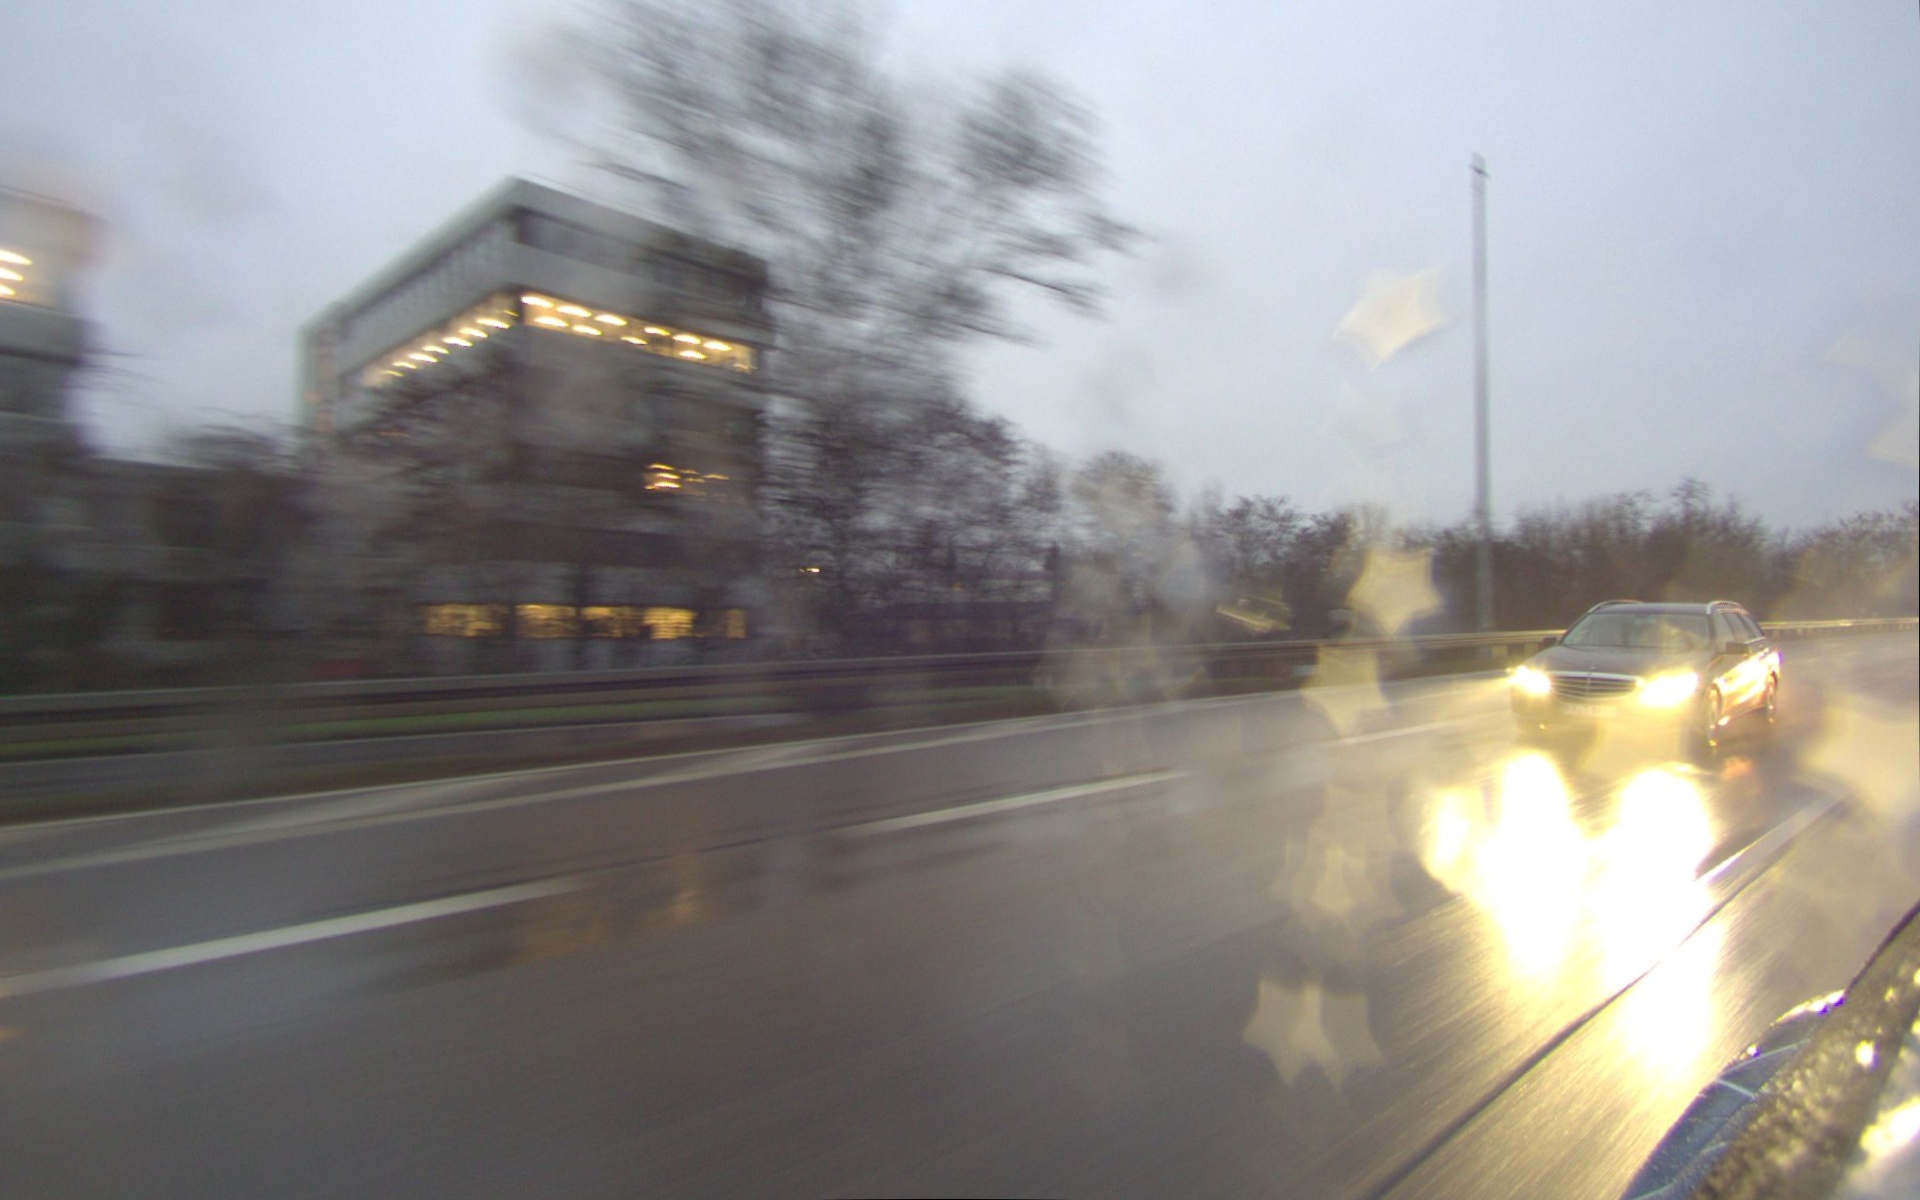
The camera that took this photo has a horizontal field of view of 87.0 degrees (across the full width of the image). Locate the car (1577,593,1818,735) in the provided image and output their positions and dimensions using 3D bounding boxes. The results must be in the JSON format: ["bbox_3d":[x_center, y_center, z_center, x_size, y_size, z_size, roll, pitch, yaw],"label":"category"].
[{"bbox_3d":[9.208,0.678,12.517,4.104,1.472,1.593,1,0,-42],"label":"car"}]
